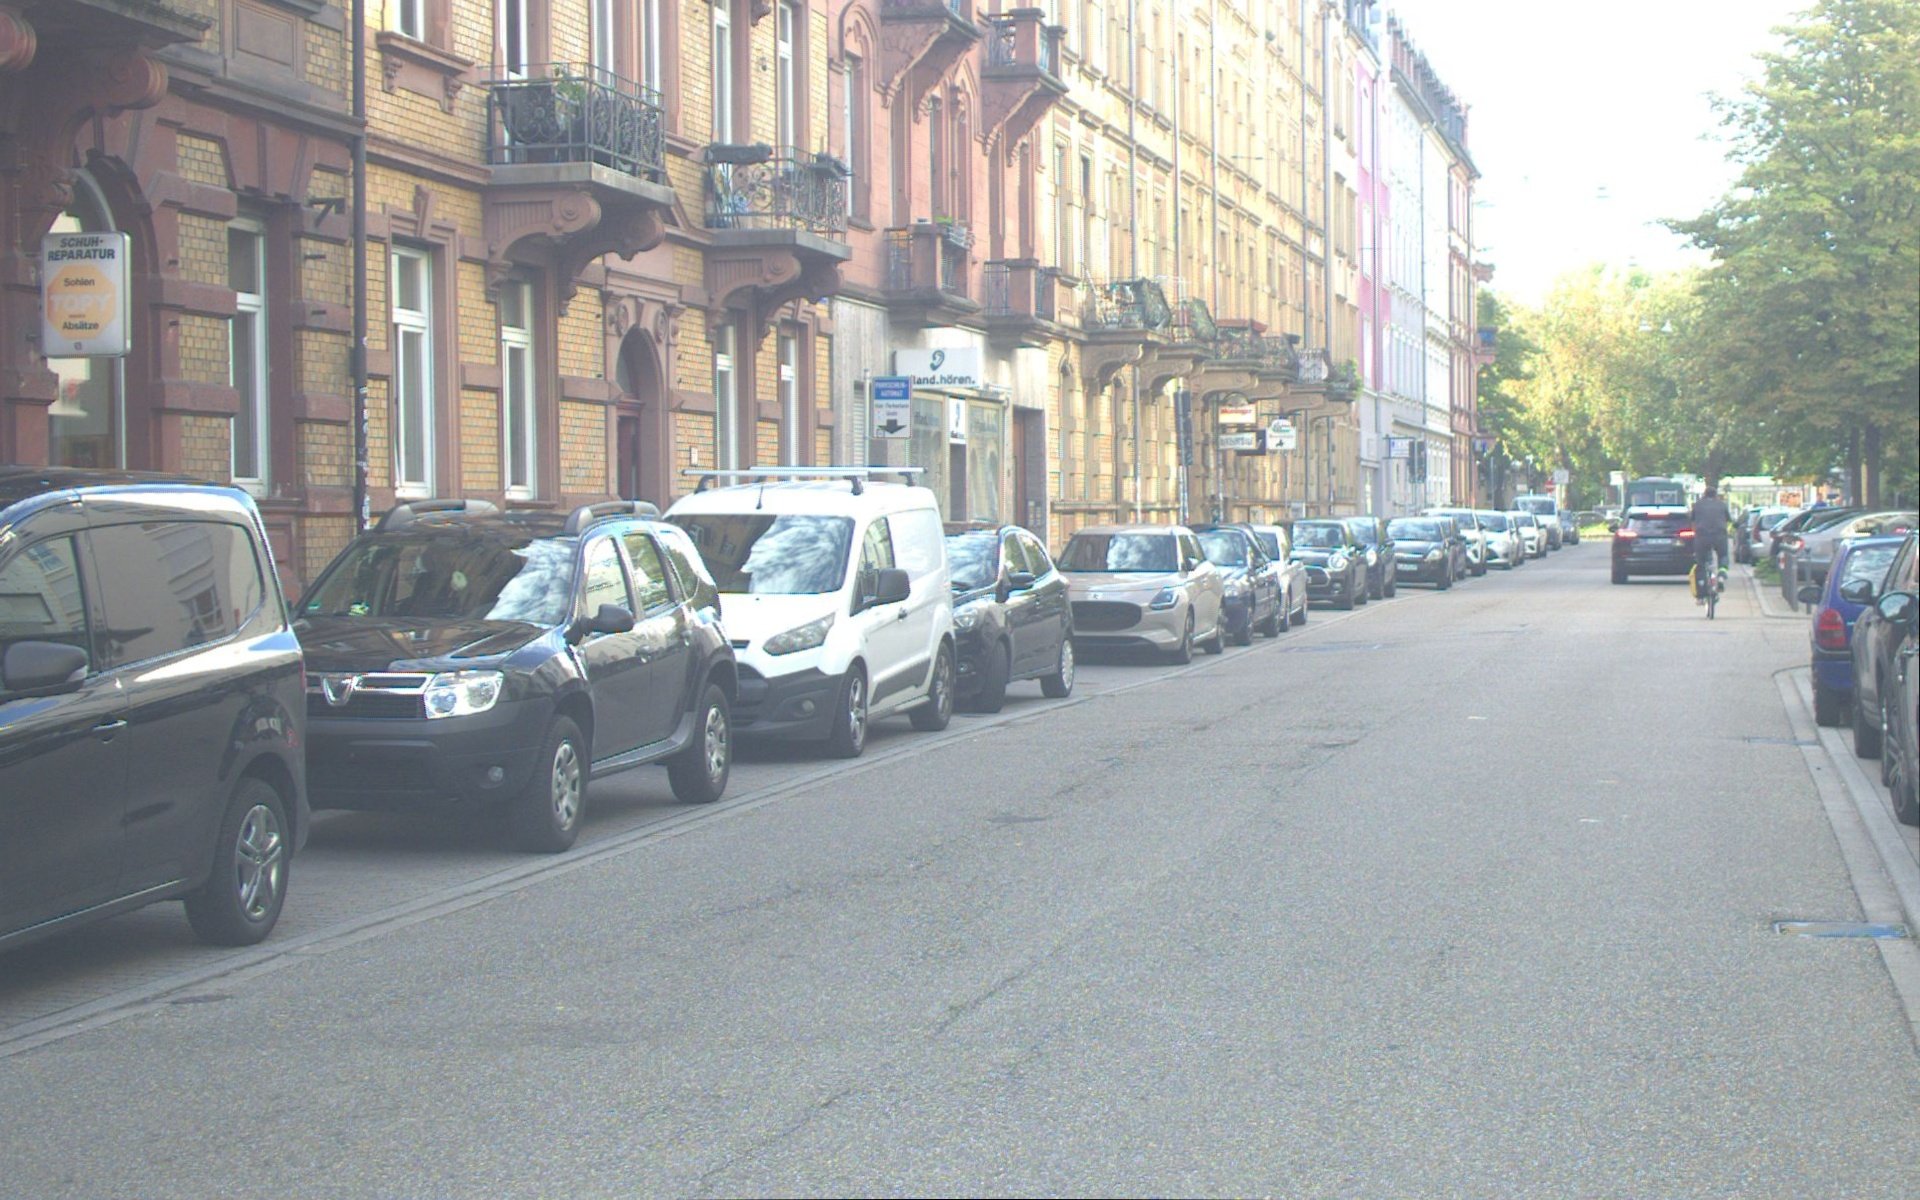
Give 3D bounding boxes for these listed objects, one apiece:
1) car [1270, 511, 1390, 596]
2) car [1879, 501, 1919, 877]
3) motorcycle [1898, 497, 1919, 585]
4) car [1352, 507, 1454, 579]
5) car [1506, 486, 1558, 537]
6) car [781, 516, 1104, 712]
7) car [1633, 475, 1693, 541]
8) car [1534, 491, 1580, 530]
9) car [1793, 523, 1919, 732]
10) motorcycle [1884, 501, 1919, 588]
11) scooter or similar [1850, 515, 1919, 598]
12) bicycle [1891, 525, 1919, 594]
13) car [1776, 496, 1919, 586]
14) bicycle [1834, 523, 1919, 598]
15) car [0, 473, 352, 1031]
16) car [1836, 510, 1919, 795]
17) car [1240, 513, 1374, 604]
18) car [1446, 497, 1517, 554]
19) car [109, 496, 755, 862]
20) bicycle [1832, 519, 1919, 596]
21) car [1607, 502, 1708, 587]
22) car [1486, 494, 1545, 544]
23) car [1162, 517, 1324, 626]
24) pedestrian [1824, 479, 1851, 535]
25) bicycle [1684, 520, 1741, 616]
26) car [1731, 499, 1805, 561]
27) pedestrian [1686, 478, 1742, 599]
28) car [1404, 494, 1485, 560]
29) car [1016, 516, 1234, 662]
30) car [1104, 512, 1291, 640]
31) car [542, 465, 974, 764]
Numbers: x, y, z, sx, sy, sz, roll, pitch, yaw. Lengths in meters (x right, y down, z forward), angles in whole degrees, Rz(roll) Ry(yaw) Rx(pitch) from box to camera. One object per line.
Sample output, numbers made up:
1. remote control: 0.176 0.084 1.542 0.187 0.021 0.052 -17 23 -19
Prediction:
1. car: 6.650 -0.855 61.520 1.691 1.432 3.865 1 2 12
2. car: 5.189 0.324 15.543 1.793 1.600 3.922 -3 1 13
3. motorcycle: 17.671 -1.078 60.544 2.152 1.525 0.685 -2 2 17
4. car: 9.232 -1.203 71.494 1.691 1.364 3.865 4 2 12
5. car: 21.005 -3.253 126.149 1.691 1.815 3.865 1 2 12
6. car: -0.067 0.056 28.791 1.743 1.478 3.981 1 2 14
7. car: 22.088 -2.914 108.051 1.783 2.013 3.886 1 2 12
8. car: 24.469 -3.672 140.790 1.691 1.544 3.865 1 2 12
9. car: 7.253 0.152 26.497 1.596 1.434 4.028 -1 2 14
10. motorcycle: 16.665 -0.967 57.689 2.152 1.430 0.765 -2 2 17
11. scooter or similar: 13.291 -0.621 48.746 1.208 1.143 0.378 -2 3 44
12. bicycle: 16.871 -0.727 59.031 1.665 1.155 0.556 -2 2 15
13. car: 17.047 -1.108 63.019 3.760 1.541 1.731 -2 0 3
14. bicycle: 14.443 -0.625 53.110 1.767 1.095 0.411 -2 2 16
15. car: -3.741 0.446 11.834 1.761 1.767 4.404 1 2 11
16. car: 6.294 0.232 20.797 1.689 1.571 3.901 -1 1 11
17. car: 5.637 -0.699 55.506 1.691 1.382 3.865 1 2 12
18. car: 14.472 -2.072 95.303 1.691 1.544 3.865 1 2 12
19. car: -2.559 0.298 17.759 1.994 1.632 4.143 1 2 11
20. bicycle: 14.834 -0.682 54.741 1.795 1.155 0.500 -2 2 16
21. car: 14.660 -1.177 72.097 1.966 1.734 4.039 0 1 13
22. car: 17.797 -2.589 110.053 1.691 1.544 3.865 1 2 12
23. car: 3.921 -0.425 47.164 1.691 1.382 3.865 1 2 12
24. pedestrian: 34.926 -3.698 136.885 0.996 2.222 0.898 1 2 13
25. bicycle: 10.386 -0.457 47.409 0.718 1.270 1.883 1 2 13
26. car: 22.461 -1.965 95.667 1.931 1.632 3.998 1 2 13
27. pedestrian: 10.418 -0.860 47.487 0.718 1.644 0.930 1 2 13
28. car: 11.798 -1.797 83.590 1.691 1.544 3.865 1 2 11
29. car: 1.871 -0.170 37.918 1.742 1.478 3.981 1 2 12
30. car: 3.008 -0.341 42.888 1.742 1.478 3.981 1 2 12
31. car: -1.276 0.008 23.851 1.920 1.865 4.435 0 2 12
